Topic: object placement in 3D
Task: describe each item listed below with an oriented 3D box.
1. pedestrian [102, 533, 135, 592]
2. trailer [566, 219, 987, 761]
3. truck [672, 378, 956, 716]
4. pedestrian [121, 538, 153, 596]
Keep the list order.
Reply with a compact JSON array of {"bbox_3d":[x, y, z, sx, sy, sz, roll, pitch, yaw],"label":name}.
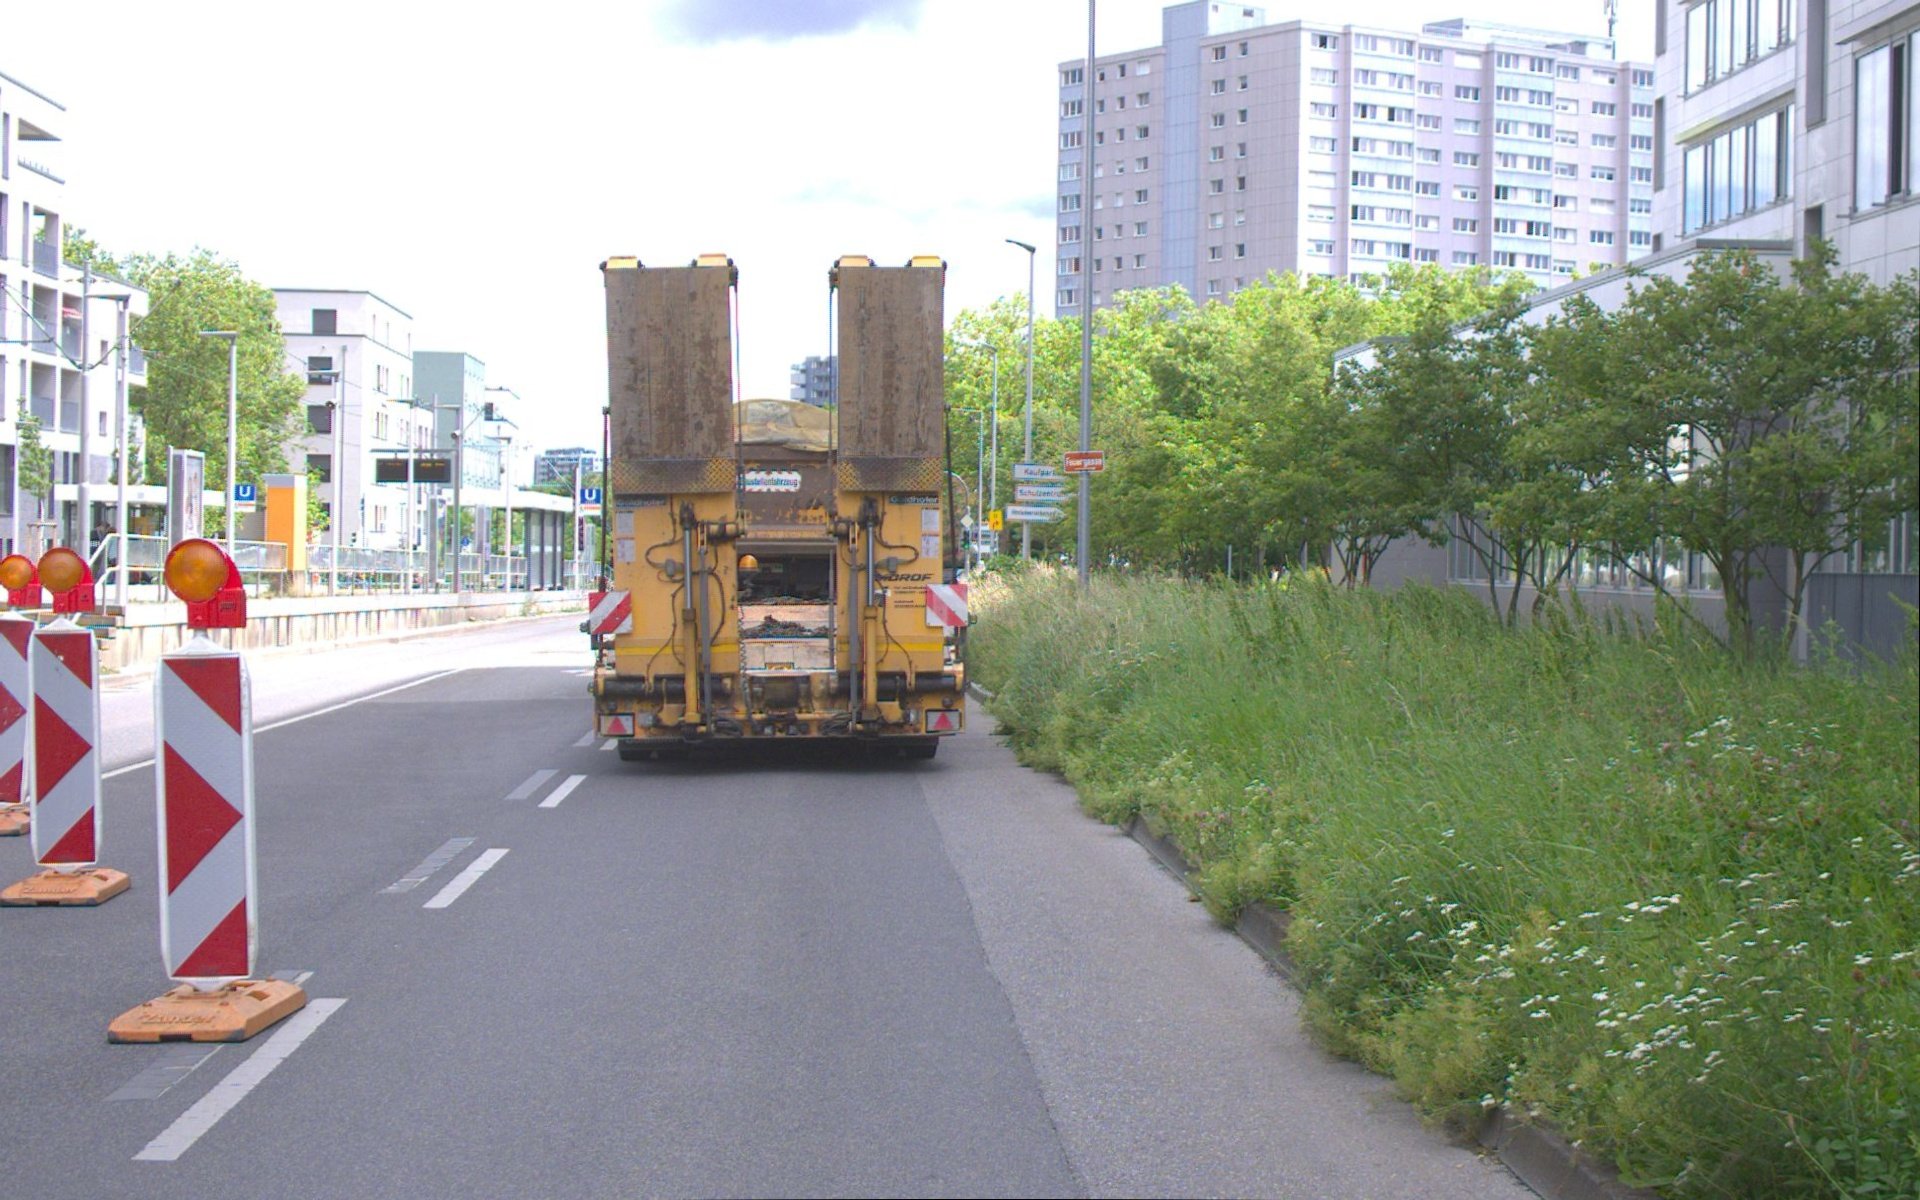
[{"bbox_3d":[-22.879,-1.029,93.448,0.488,1.591,0.676,1,0,42],"label":"pedestrian"},{"bbox_3d":[-1.332,-0.764,28.412,2.729,3.547,11.254,1,0,-1],"label":"trailer"},{"bbox_3d":[-1.546,-0.555,38.216,2.753,3.302,8.352,1,0,-1],"label":"truck"},{"bbox_3d":[-22.665,-0.912,94.640,0.488,1.591,0.676,1,0,34],"label":"pedestrian"}]
